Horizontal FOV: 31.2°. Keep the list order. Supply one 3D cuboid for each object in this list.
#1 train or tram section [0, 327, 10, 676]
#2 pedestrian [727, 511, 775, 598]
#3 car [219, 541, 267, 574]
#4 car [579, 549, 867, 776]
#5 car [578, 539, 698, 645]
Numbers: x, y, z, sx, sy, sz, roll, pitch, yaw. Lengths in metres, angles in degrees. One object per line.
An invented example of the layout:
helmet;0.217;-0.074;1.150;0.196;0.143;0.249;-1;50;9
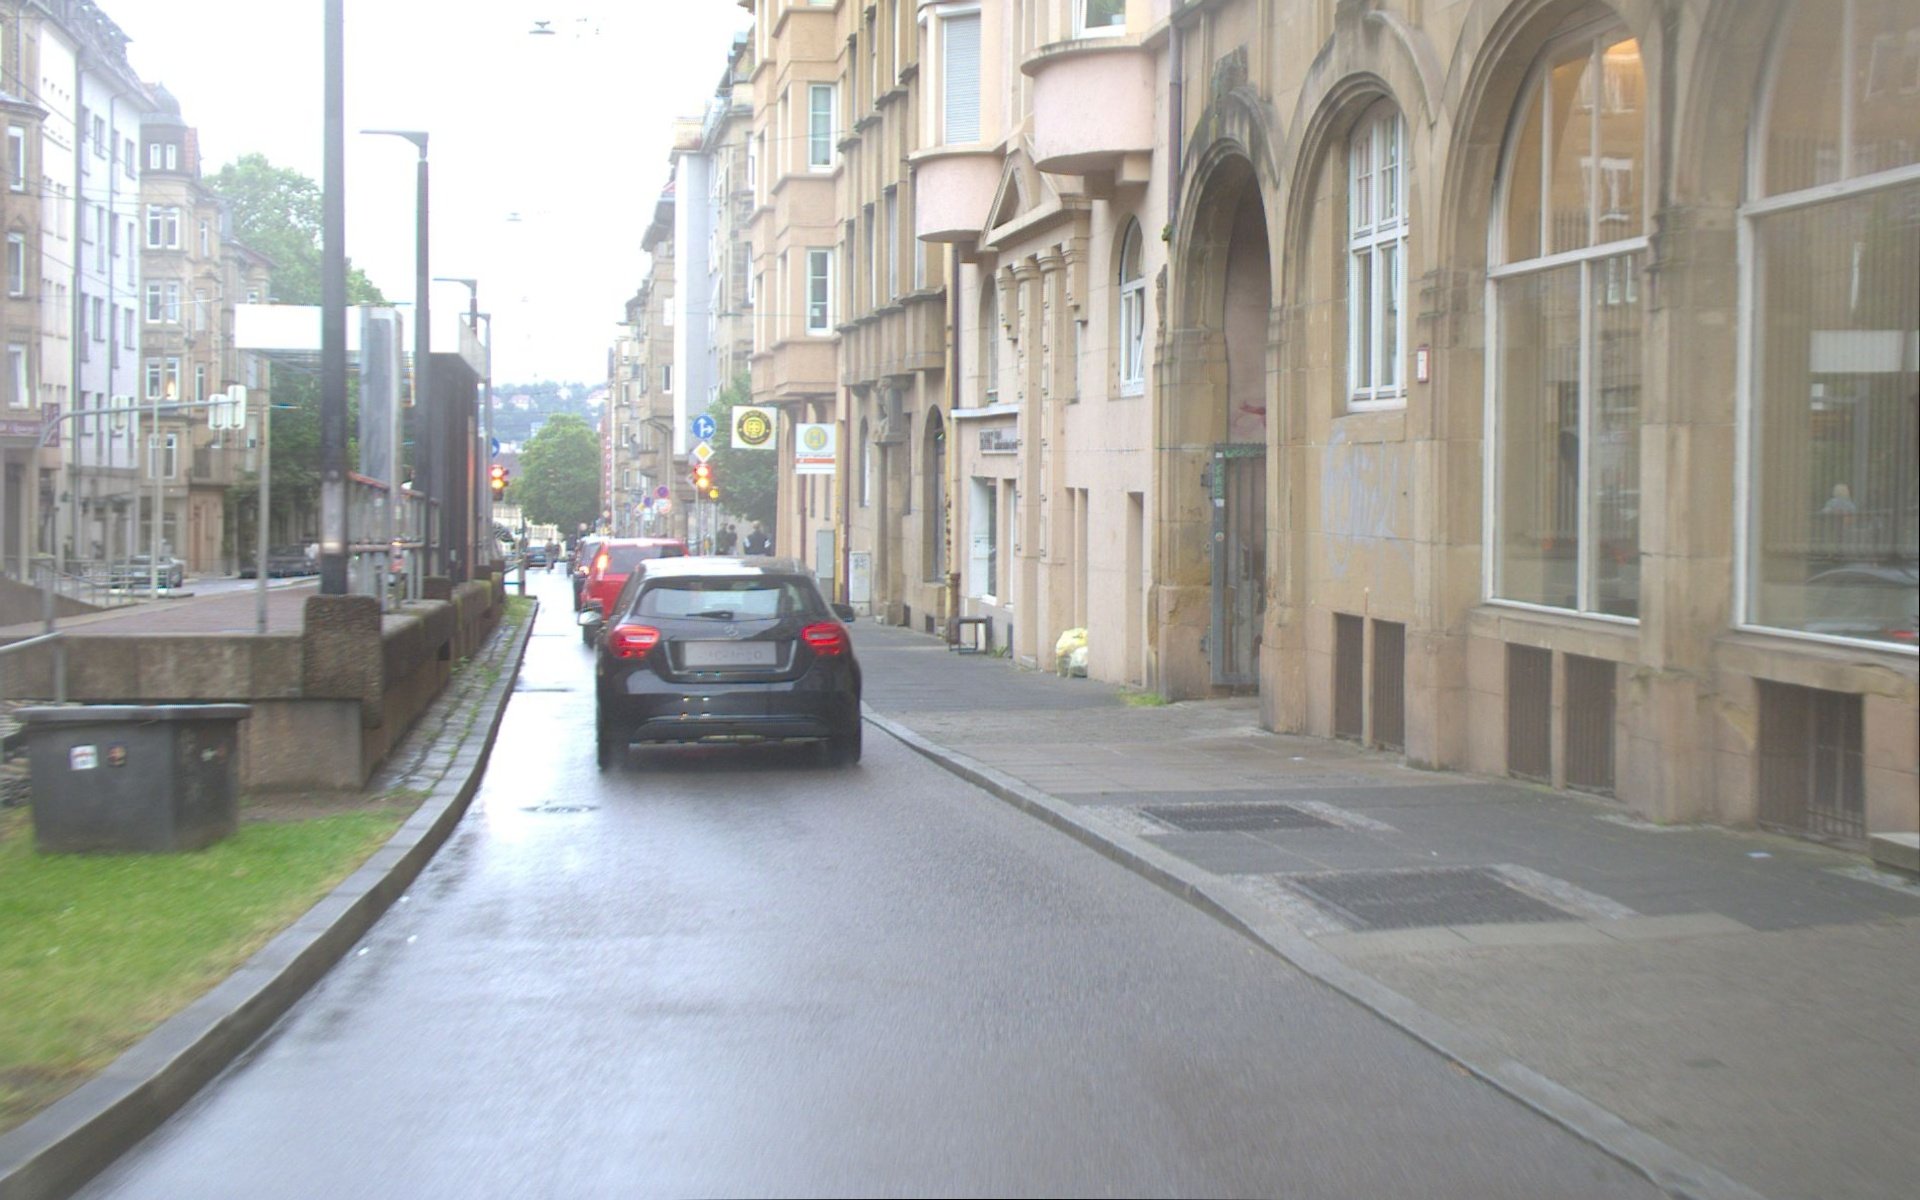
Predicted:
train or tram section;-10.982;-0.972;29.106;2.714;3.907;19.867;0;1;-7
pedestrian;-4.536;-0.987;74.669;0.899;1.834;0.968;-4;1;-5
car;-33.972;-2.024;162.951;1.722;1.536;3.934;-2;1;-5
car;-1.704;0.372;24.321;1.866;1.447;4.001;0;1;-5
car;-4.627;-0.145;49.573;1.649;1.447;4.001;0;1;-5
